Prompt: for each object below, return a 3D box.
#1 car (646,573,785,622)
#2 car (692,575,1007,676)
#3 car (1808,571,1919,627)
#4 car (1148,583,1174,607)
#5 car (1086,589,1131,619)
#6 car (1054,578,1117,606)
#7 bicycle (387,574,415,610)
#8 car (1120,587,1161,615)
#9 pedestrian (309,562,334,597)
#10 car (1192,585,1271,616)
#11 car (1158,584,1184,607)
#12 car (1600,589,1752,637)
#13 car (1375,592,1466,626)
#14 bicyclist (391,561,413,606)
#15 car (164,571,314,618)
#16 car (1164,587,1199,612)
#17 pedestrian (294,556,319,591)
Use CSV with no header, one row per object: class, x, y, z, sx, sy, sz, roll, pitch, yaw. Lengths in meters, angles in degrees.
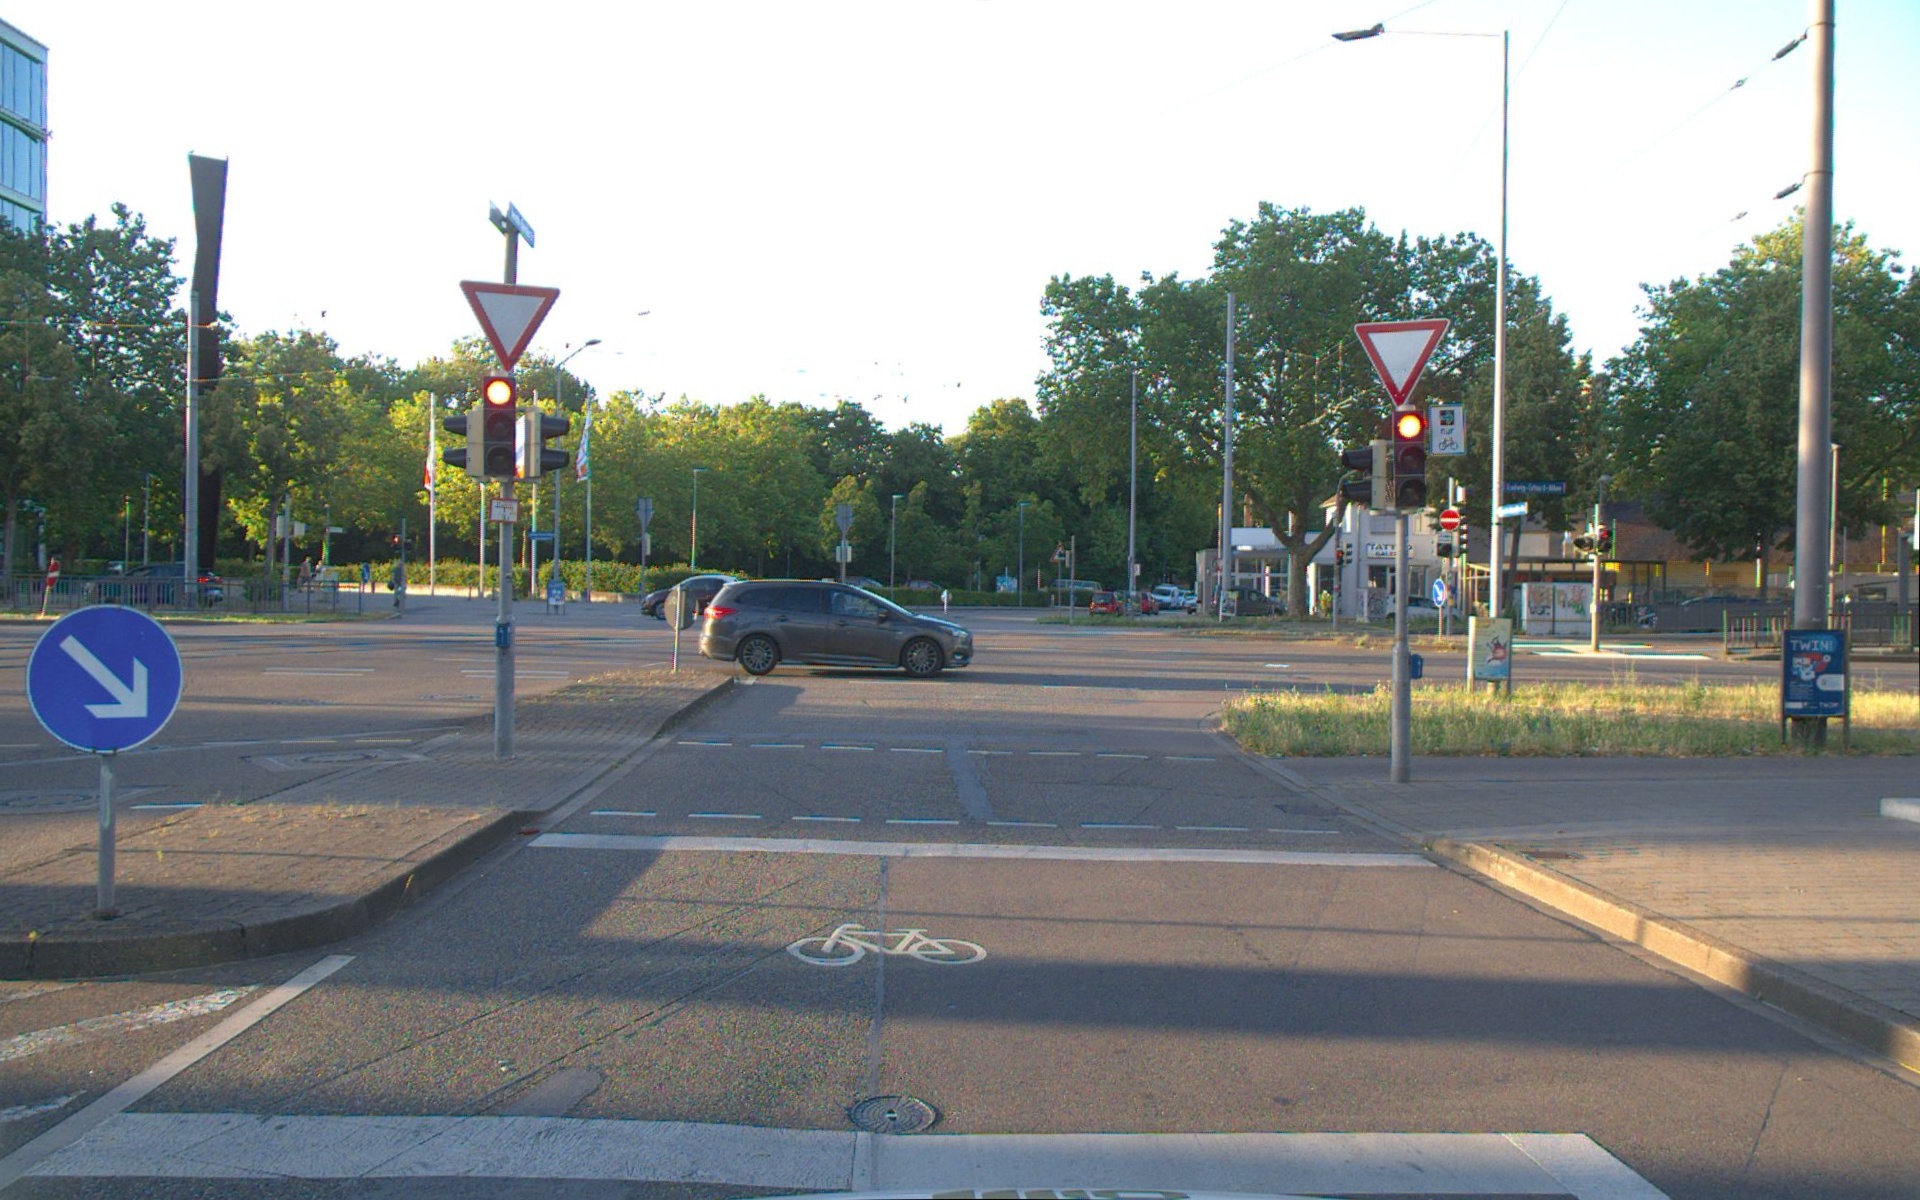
car,-7.967,-0.067,54.150,4.242,1.522,1.804,1,-1,1
car,-1.784,0.396,26.889,4.909,1.537,1.986,1,0,-5
car,43.674,-0.052,78.676,5.476,2.596,2.231,1,0,7
car,16.003,-0.351,131.428,1.823,1.825,4.003,1,-1,10
car,8.625,0.229,95.803,1.951,1.691,4.003,0,-1,14
car,9.512,-0.578,126.018,4.675,2.041,2.000,1,-1,1
bicycle,-21.896,-0.330,64.794,0.717,1.364,2.682,1,0,-12
car,11.323,0.104,103.533,1.951,1.691,4.003,0,-1,14
pedestrian,-32.614,-1.030,84.447,0.844,1.774,0.828,1,0,30
car,14.657,0.033,89.380,4.129,1.579,2.001,1,-1,7
car,17.412,-0.340,136.343,1.823,1.825,4.003,0,-1,12
car,24.595,0.455,56.951,4.380,1.579,2.000,1,-1,0
car,20.157,0.390,72.528,3.659,1.465,1.665,1,-1,9
bicyclist,-21.840,-0.664,64.722,0.738,1.739,0.917,1,0,-14
car,-24.380,-0.180,56.037,4.242,1.522,1.804,1,-1,1
car,15.559,-0.053,115.825,1.951,1.691,4.003,0,-1,14
pedestrian,-33.058,-1.348,83.641,0.844,1.774,0.829,1,0,30
